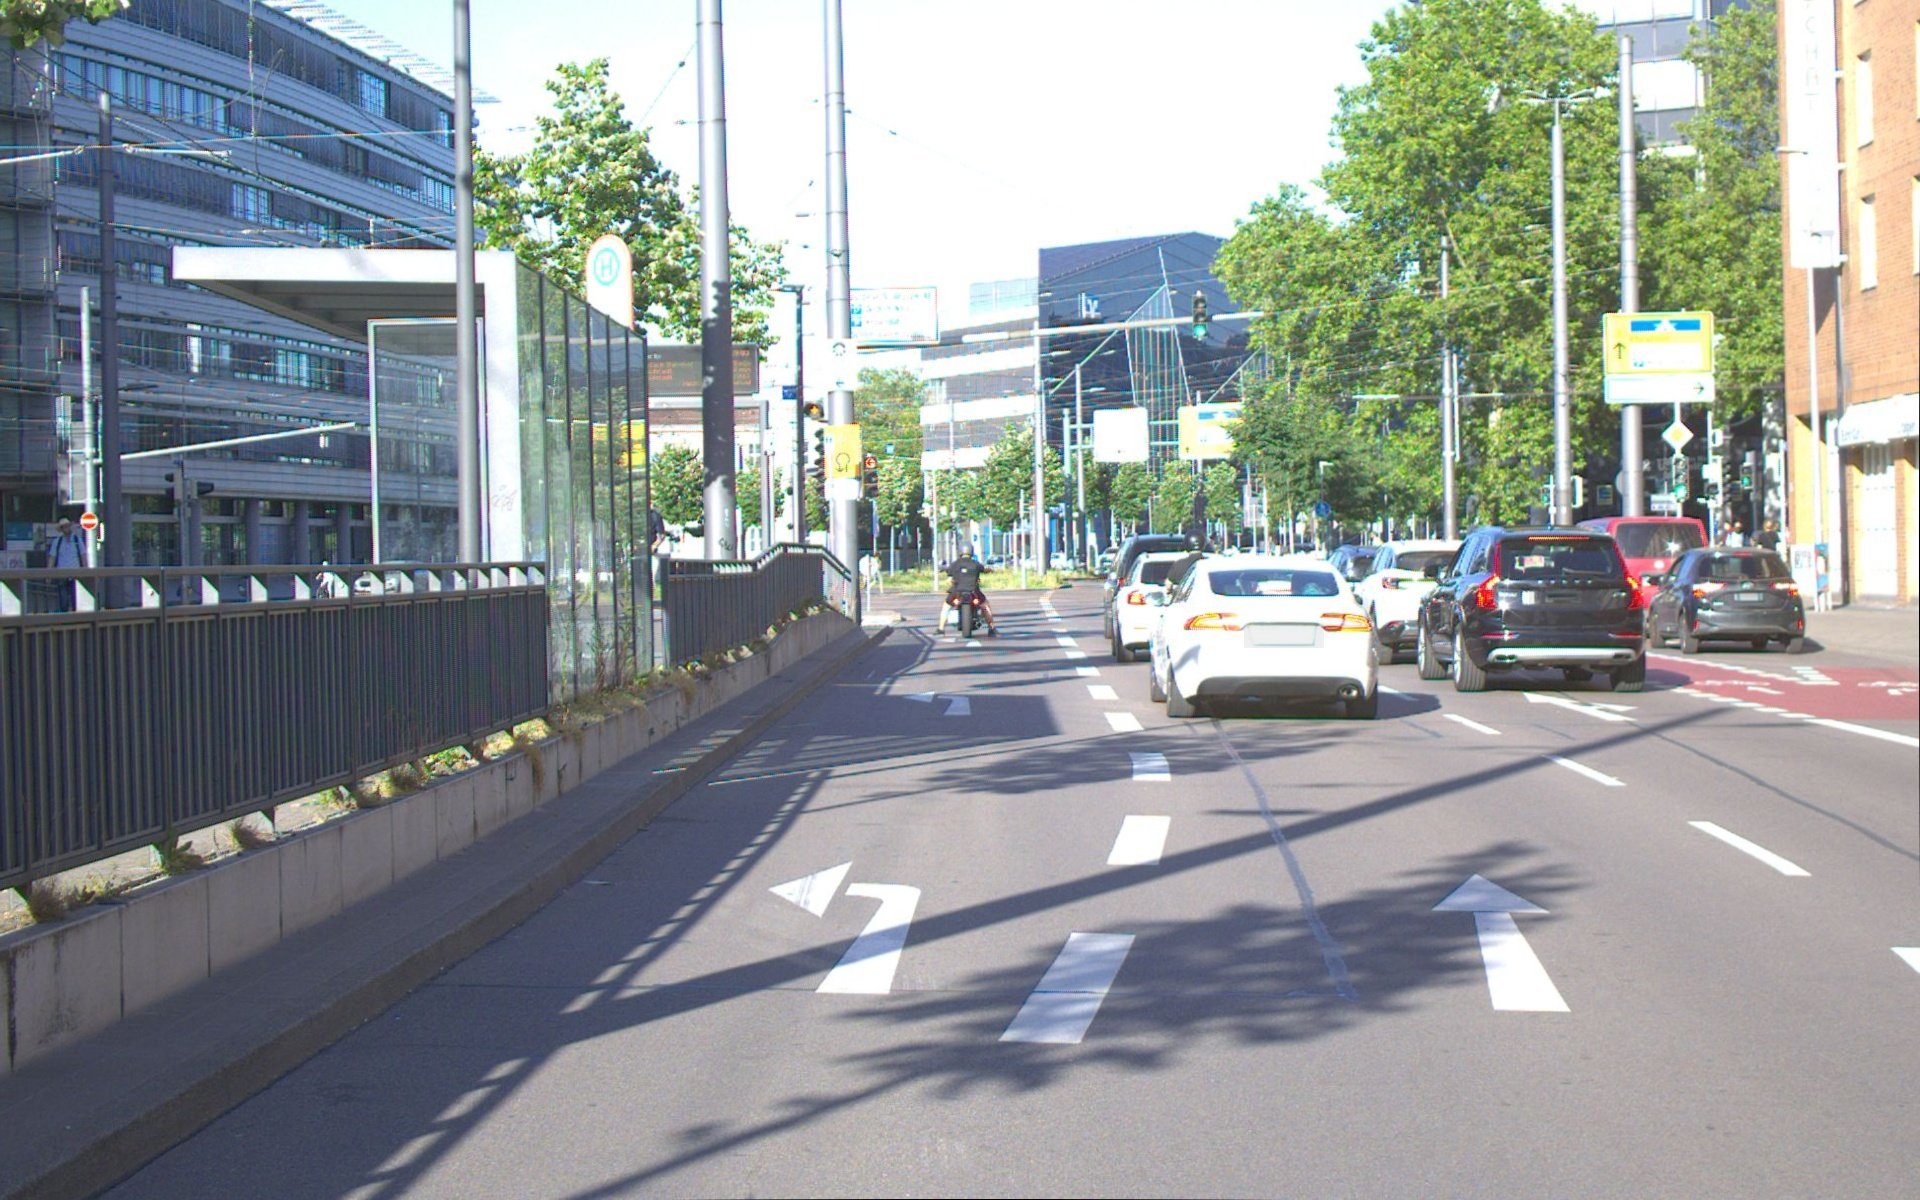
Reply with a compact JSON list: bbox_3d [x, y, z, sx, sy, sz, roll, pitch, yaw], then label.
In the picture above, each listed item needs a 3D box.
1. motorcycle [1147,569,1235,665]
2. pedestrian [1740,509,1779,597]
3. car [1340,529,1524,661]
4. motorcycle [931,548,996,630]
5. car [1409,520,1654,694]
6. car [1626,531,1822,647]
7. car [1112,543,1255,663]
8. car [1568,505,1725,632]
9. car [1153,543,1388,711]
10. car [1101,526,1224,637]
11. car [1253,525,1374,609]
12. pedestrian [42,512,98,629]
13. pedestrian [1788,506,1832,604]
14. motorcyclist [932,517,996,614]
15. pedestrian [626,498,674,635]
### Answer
[{"bbox_3d":[2.715,0.183,40.607,0.837,1.058,2.553,-1,1,0],"label":"motorcycle"},{"bbox_3d":[16.747,-0.976,71.994,0.606,1.815,0.748,-1,1,0],"label":"pedestrian"},{"bbox_3d":[6.130,-0.102,45.036,1.851,1.634,4.379,0,1,1],"label":"car"},{"bbox_3d":[0.073,-0.197,57.555,1.019,1.307,2.914,1,1,1],"label":"motorcycle"},{"bbox_3d":[6.155,0.024,37.541,1.975,1.753,4.632,1,1,1],"label":"car"},{"bbox_3d":[10.929,-0.197,49.478,1.846,1.555,4.632,1,1,1],"label":"car"},{"bbox_3d":[2.947,0.000,45.979,1.693,1.491,4.409,1,1,1],"label":"car"},{"bbox_3d":[11.157,-0.532,56.089,1.860,1.954,4.000,-1,1,2],"label":"car"},{"bbox_3d":[2.803,0.190,31.946,1.780,1.409,4.819,1,1,1],"label":"car"},{"bbox_3d":[3.204,-0.332,54.970,1.798,1.699,4.063,0,1,1],"label":"car"},{"bbox_3d":[6.538,-0.640,63.944,1.851,1.492,4.379,0,1,1],"label":"car"},{"bbox_3d":[-13.971,-0.466,53.975,0.614,1.811,0.897,0,1,1],"label":"pedestrian"},{"bbox_3d":[15.858,-0.836,64.137,0.606,1.815,0.748,-1,1,0],"label":"pedestrian"},{"bbox_3d":[0.074,-0.579,57.597,1.019,1.598,1.148,1,1,1],"label":"motorcyclist"},{"bbox_3d":[-3.779,-0.413,41.895,0.519,1.663,0.550,0,1,1],"label":"pedestrian"}]
